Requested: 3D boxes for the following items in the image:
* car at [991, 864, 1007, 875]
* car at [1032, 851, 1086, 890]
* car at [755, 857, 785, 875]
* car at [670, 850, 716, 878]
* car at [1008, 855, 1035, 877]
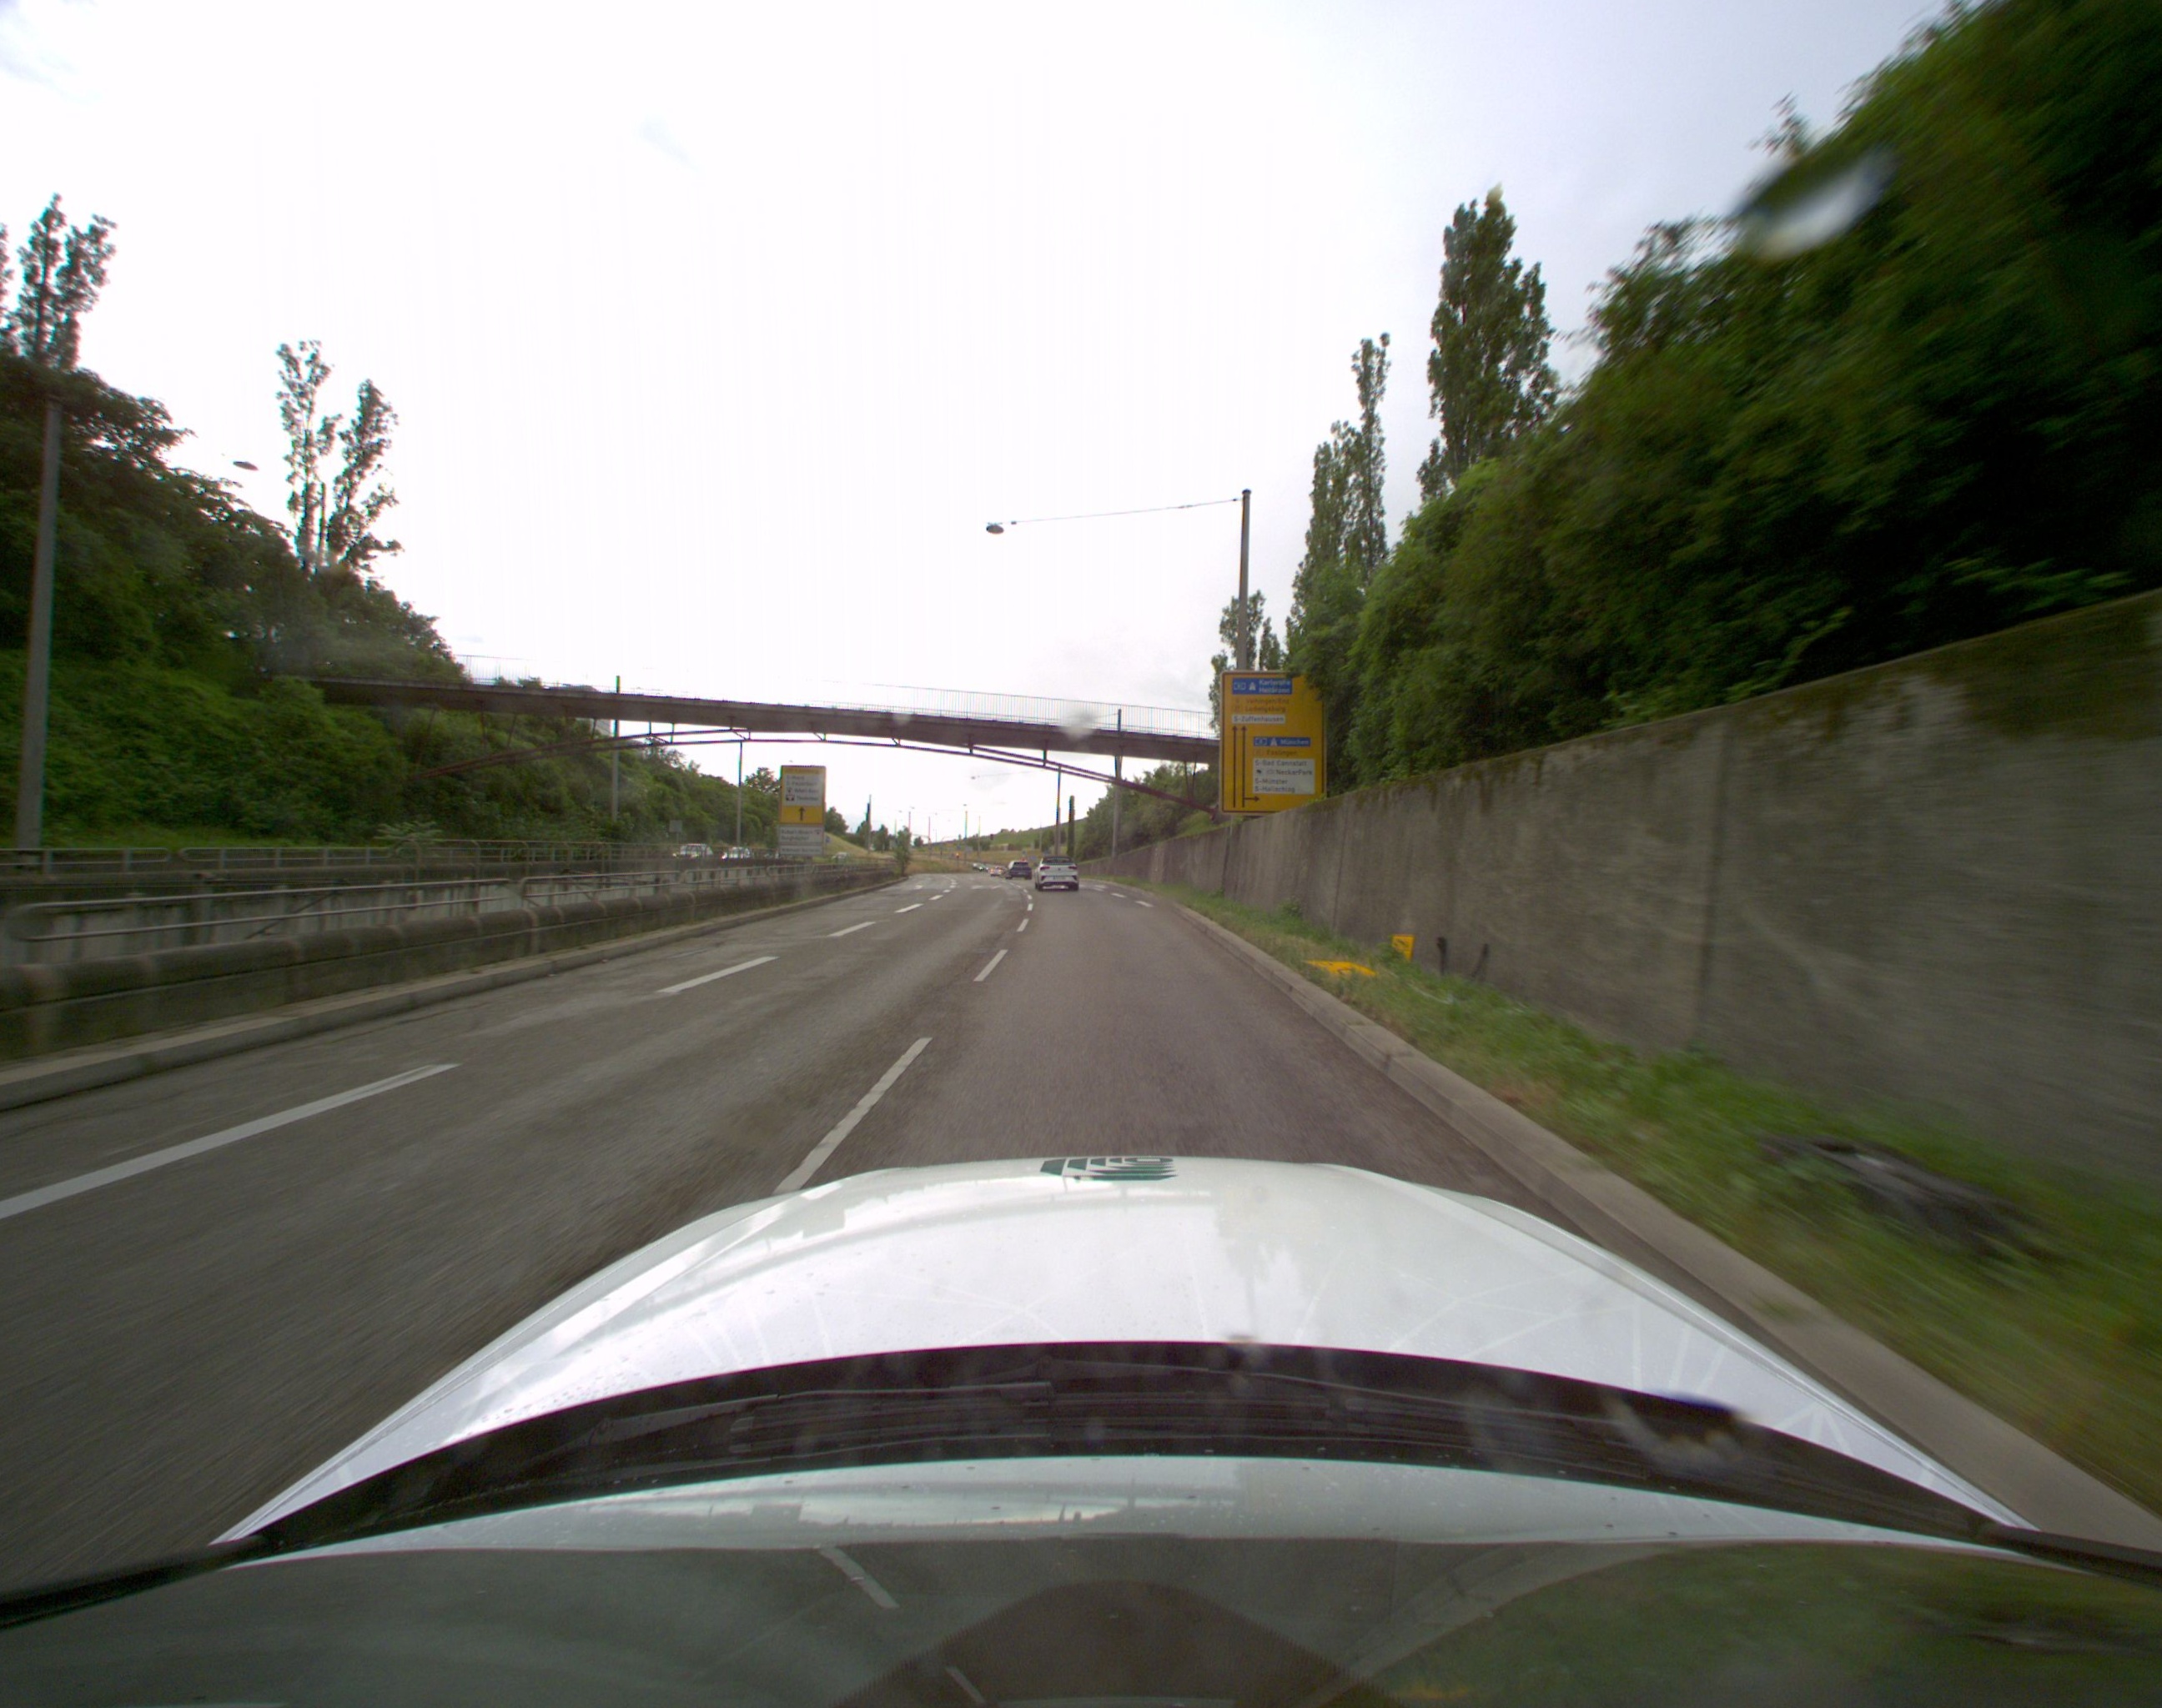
[{"bbox_3d":[-12.299,2.400,122.254,1.766,1.519,3.729,3,-1,5],"label":"car"},{"bbox_3d":[-1.032,0.684,36.407,1.994,1.578,4.116,-2,1,-7],"label":"car"},{"bbox_3d":[-31.790,1.249,83.416,1.994,1.721,4.687,-1,0,-10],"label":"car"},{"bbox_3d":[-27.803,0.726,58.471,1.670,1.916,4.545,-1,0,-9],"label":"car"},{"bbox_3d":[-4.694,0.976,63.553,1.924,1.599,4.051,2,-2,-7],"label":"car"}]
